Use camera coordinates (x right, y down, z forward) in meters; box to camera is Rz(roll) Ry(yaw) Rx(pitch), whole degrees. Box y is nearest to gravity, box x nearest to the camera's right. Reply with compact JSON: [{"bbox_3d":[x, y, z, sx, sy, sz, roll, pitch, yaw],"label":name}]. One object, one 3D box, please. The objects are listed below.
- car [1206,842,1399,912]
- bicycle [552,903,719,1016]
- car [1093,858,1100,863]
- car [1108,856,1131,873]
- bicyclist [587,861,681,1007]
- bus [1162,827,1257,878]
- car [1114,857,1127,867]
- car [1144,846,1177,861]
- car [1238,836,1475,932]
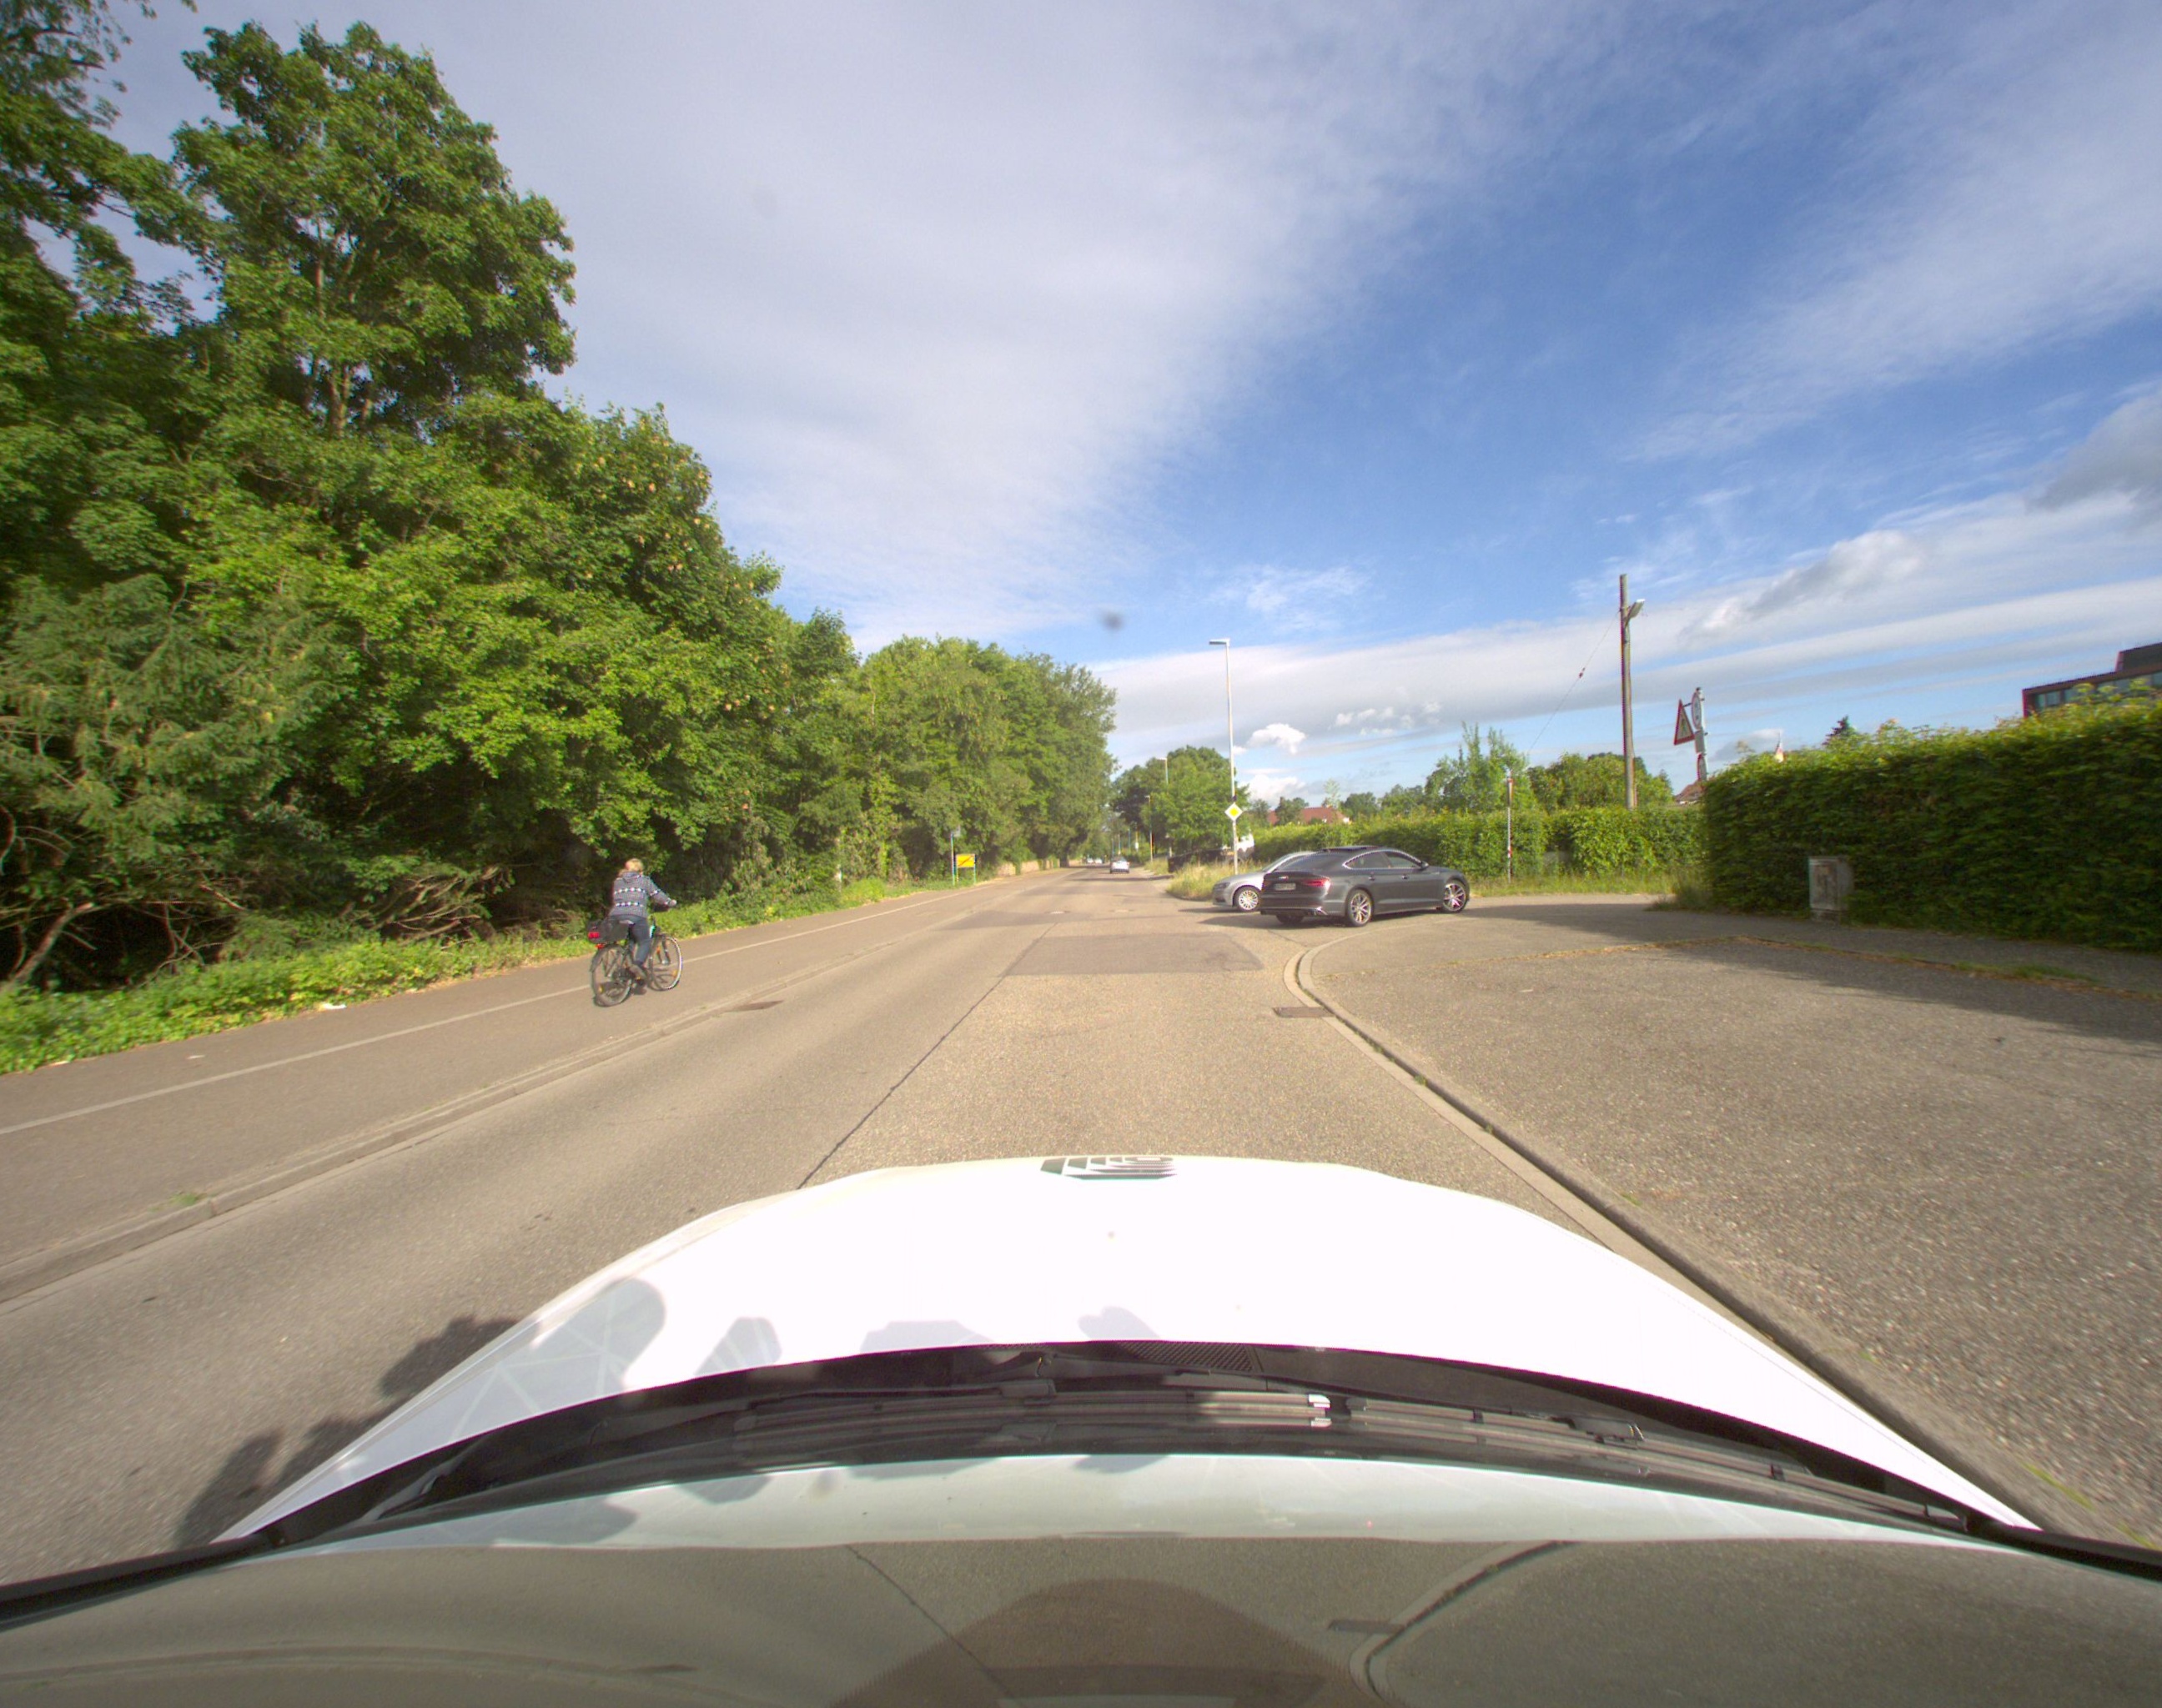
[{"bbox_3d":[5.312,0.558,20.073,4.337,1.443,1.937,-3,-1,8],"label":"car"},{"bbox_3d":[-5.378,1.222,10.058,0.660,1.097,2.350,0,0,3],"label":"bicycle"},{"bbox_3d":[4.617,1.764,237.585,1.880,1.372,4.054,-2,0,0],"label":"car"},{"bbox_3d":[3.382,0.888,72.049,1.879,1.372,4.056,-2,0,2],"label":"car"},{"bbox_3d":[-5.379,0.925,9.842,0.606,1.677,0.884,-1,0,3],"label":"bicyclist"},{"bbox_3d":[7.788,-0.091,49.710,5.349,2.746,2.068,-3,0,-1],"label":"bus"},{"bbox_3d":[6.103,1.224,125.003,1.879,1.372,4.056,-2,0,2],"label":"car"},{"bbox_3d":[10.859,-0.008,111.421,4.385,1.646,2.002,-5,-1,3],"label":"car"},{"bbox_3d":[5.311,0.504,15.539,4.353,1.434,1.952,-3,0,-33],"label":"car"}]
